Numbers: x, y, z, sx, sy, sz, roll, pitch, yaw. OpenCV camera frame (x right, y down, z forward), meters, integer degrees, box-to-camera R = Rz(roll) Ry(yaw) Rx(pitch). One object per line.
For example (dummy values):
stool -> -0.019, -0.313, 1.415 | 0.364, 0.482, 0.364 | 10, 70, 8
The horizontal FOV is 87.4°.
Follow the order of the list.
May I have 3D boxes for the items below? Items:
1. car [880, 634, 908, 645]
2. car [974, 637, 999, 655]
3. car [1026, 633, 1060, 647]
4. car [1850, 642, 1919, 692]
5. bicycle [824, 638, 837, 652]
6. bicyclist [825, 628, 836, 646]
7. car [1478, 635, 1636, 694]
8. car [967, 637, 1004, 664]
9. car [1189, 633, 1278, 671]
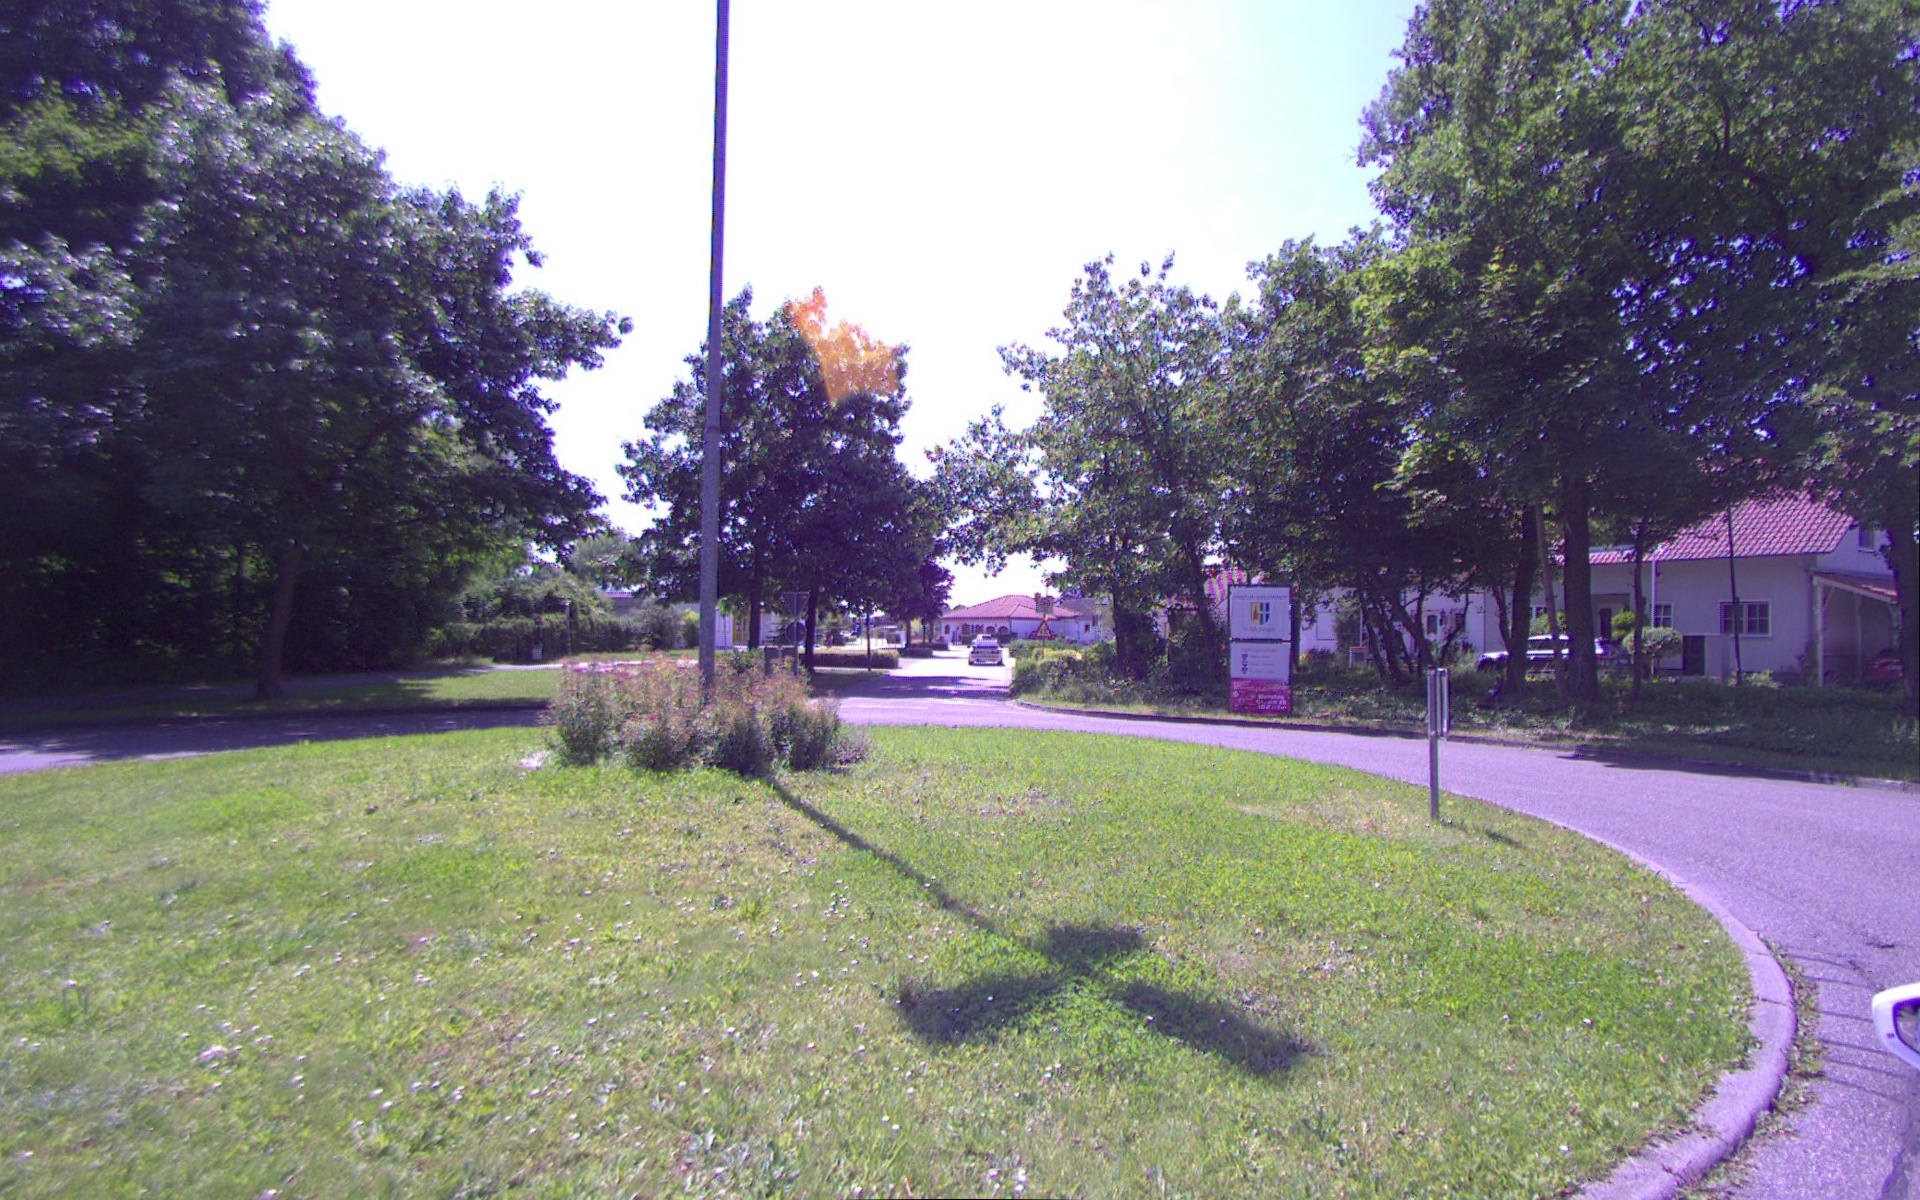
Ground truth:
car -> -8.252, 4.967, 125.296 | 1.975, 1.305, 3.972 | 2, -2, -28
car -> 2.384, 4.201, 92.111 | 1.604, 1.505, 3.994 | 1, -2, -9
car -> 9.653, 4.622, 117.120 | 3.807, 1.562, 1.832 | 3, -3, -42
car -> 28.705, 1.985, 30.258 | 3.648, 1.403, 1.672 | 2, -2, -28
bicycle -> -8.565, 2.960, 66.399 | 0.587, 0.941, 1.621 | 1, -2, 1
bicyclist -> -8.574, 2.429, 66.394 | 0.587, 1.180, 0.649 | 1, -2, 1
car -> 19.071, 2.017, 32.255 | 1.647, 1.727, 4.109 | 2, -2, -31
car -> 1.341, 2.548, 51.193 | 1.587, 1.305, 3.559 | 1, -2, 6
car -> 12.326, 2.332, 45.495 | 1.644, 1.622, 4.000 | 2, -2, -27
